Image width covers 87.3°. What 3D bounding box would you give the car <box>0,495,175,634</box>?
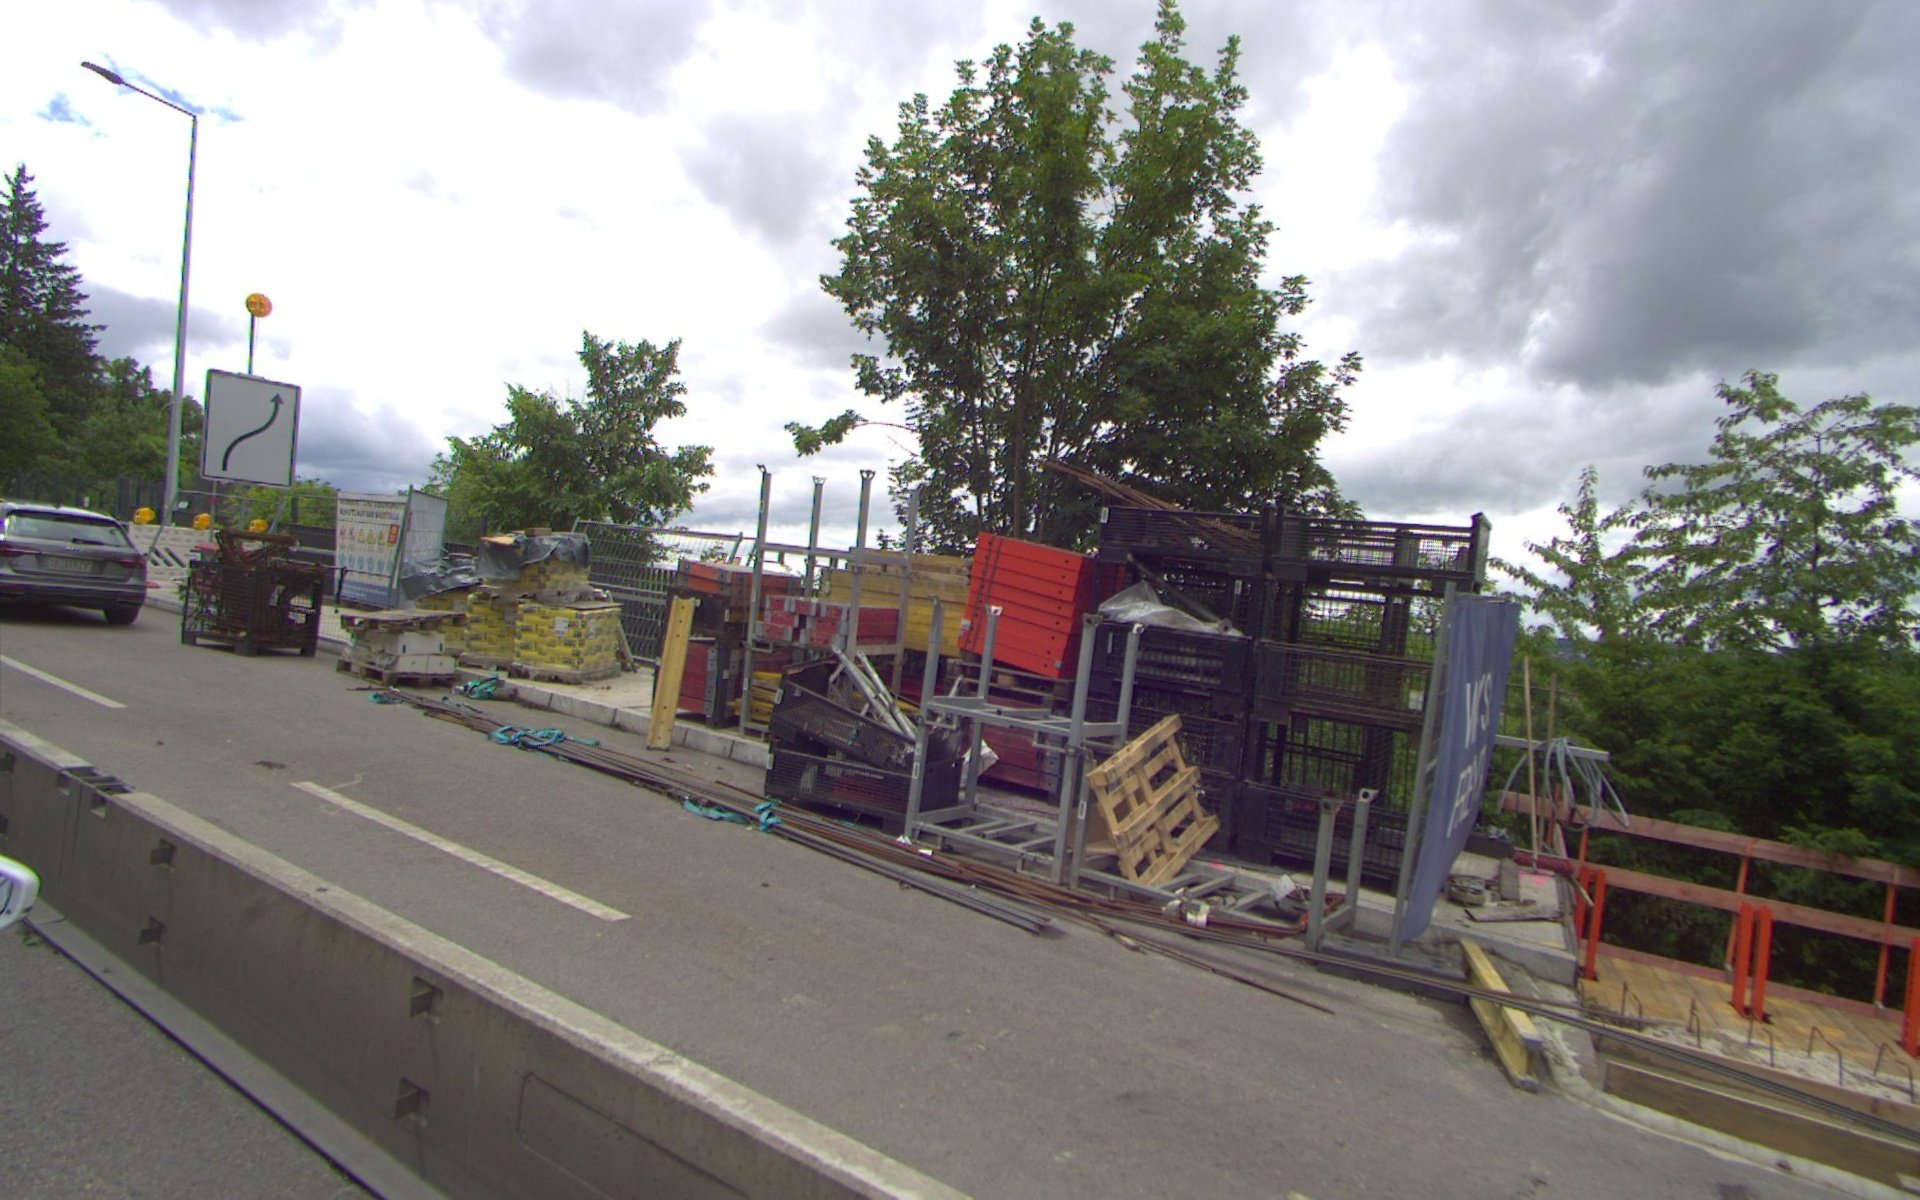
[{"bbox_3d":[-12.385,-0.601,13.193,4.553,1.472,1.842,7,-1,33],"label":"car"}]
